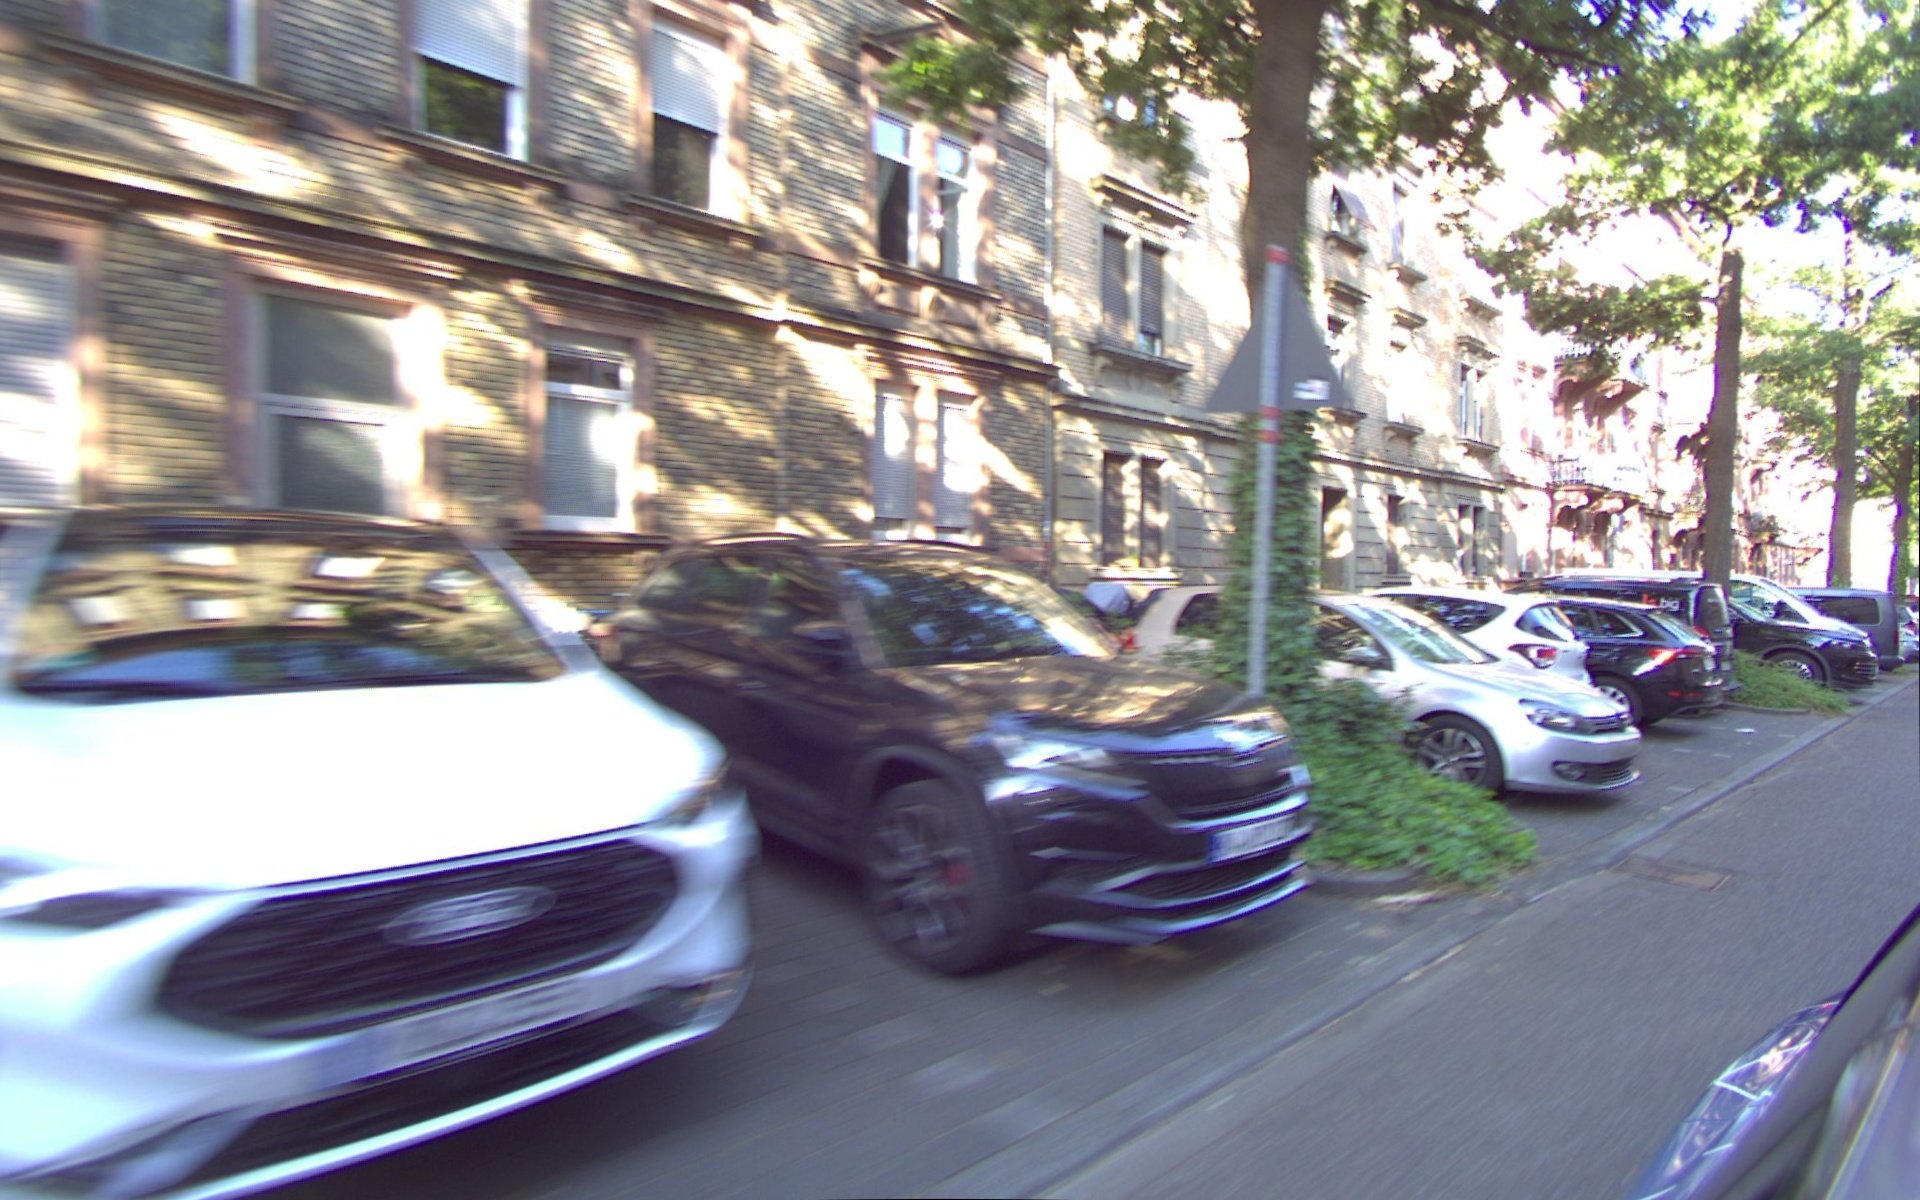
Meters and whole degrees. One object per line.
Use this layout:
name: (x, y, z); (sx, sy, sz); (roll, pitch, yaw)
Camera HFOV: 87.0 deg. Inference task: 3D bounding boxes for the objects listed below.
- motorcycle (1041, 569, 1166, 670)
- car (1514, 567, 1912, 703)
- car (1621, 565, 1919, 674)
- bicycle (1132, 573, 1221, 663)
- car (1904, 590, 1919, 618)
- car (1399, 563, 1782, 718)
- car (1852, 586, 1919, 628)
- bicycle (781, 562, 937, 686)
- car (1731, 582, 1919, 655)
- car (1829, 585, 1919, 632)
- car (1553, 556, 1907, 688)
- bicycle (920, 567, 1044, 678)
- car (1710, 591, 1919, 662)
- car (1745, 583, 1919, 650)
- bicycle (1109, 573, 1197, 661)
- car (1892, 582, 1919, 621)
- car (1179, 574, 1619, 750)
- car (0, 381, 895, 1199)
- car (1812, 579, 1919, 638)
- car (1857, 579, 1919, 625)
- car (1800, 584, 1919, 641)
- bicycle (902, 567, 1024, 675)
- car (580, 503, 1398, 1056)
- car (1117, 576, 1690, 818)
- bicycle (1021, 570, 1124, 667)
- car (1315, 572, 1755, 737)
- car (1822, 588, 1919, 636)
motorcycle: (2.046, 0.243, 14.287); (1.852, 1.335, 0.763); (0, 1, -44)
car: (12.109, 0.435, 16.550); (2.045, 1.652, 4.924); (0, 4, -45)
car: (16.769, 0.328, 21.160); (4.633, 1.913, 1.890); (3, 2, 27)
bicycle: (3.411, 0.267, 15.853); (1.852, 1.335, 0.368); (0, 1, -44)
car: (55.630, 0.399, 56.474); (1.750, 1.548, 4.057); (0, 6, -41)
car: (8.588, 0.421, 14.075); (1.910, 1.811, 4.134); (0, 1, -40)
car: (42.562, 0.389, 45.008); (1.750, 1.640, 4.058); (0, 6, -41)
bicycle: (-1.134, 0.255, 11.726); (1.852, 1.335, 0.534); (0, 1, -44)
car: (24.603, 0.462, 28.603); (1.751, 1.910, 4.239); (0, 0, -41)
car: (39.035, 0.382, 42.080); (1.750, 1.640, 4.058); (0, 6, -41)
car: (14.119, 0.271, 18.791); (2.141, 1.924, 4.924); (0, 4, -45)
bicycle: (0.316, 0.268, 13.003); (1.852, 1.335, 0.375); (0, 1, -44)
car: (21.334, 0.608, 24.744); (1.869, 1.384, 4.469); (0, 3, -40)
car: (26.360, 0.455, 30.284); (1.709, 1.607, 4.239); (0, 4, -43)
bicycle: (3.096, 0.254, 16.124); (1.852, 1.335, 0.368); (0, 1, -44)
car: (51.931, 0.208, 53.189); (1.750, 1.956, 4.057); (0, 6, -41)
car: (4.506, 0.502, 10.817); (1.659, 1.513, 3.990); (0, 1, -44)
car: (-2.365, 0.458, 3.614); (1.860, 1.676, 4.481); (-2, 2, -43)
car: (33.978, 0.325, 36.971); (1.749, 1.909, 4.058); (1, 4, -40)
car: (46.408, 0.198, 48.548); (1.892, 2.000, 4.700); (0, 6, -41)
car: (32.122, 0.425, 35.433); (1.708, 1.702, 3.844); (1, 4, -40)
bicycle: (0.066, 0.255, 13.315); (1.852, 1.335, 0.368); (0, 1, -44)
car: (-0.293, 0.472, 5.385); (1.858, 1.676, 4.485); (-2, 2, -40)
car: (3.370, 0.564, 8.311); (1.658, 1.474, 3.994); (0, 1, -41)
bicycle: (1.667, 0.256, 14.742); (1.852, 1.335, 0.368); (0, 1, -44)
car: (6.666, 0.491, 12.080); (1.904, 1.473, 4.151); (0, 3, -43)
car: (35.729, 0.480, 38.594); (1.749, 1.599, 4.058); (1, 4, -40)
